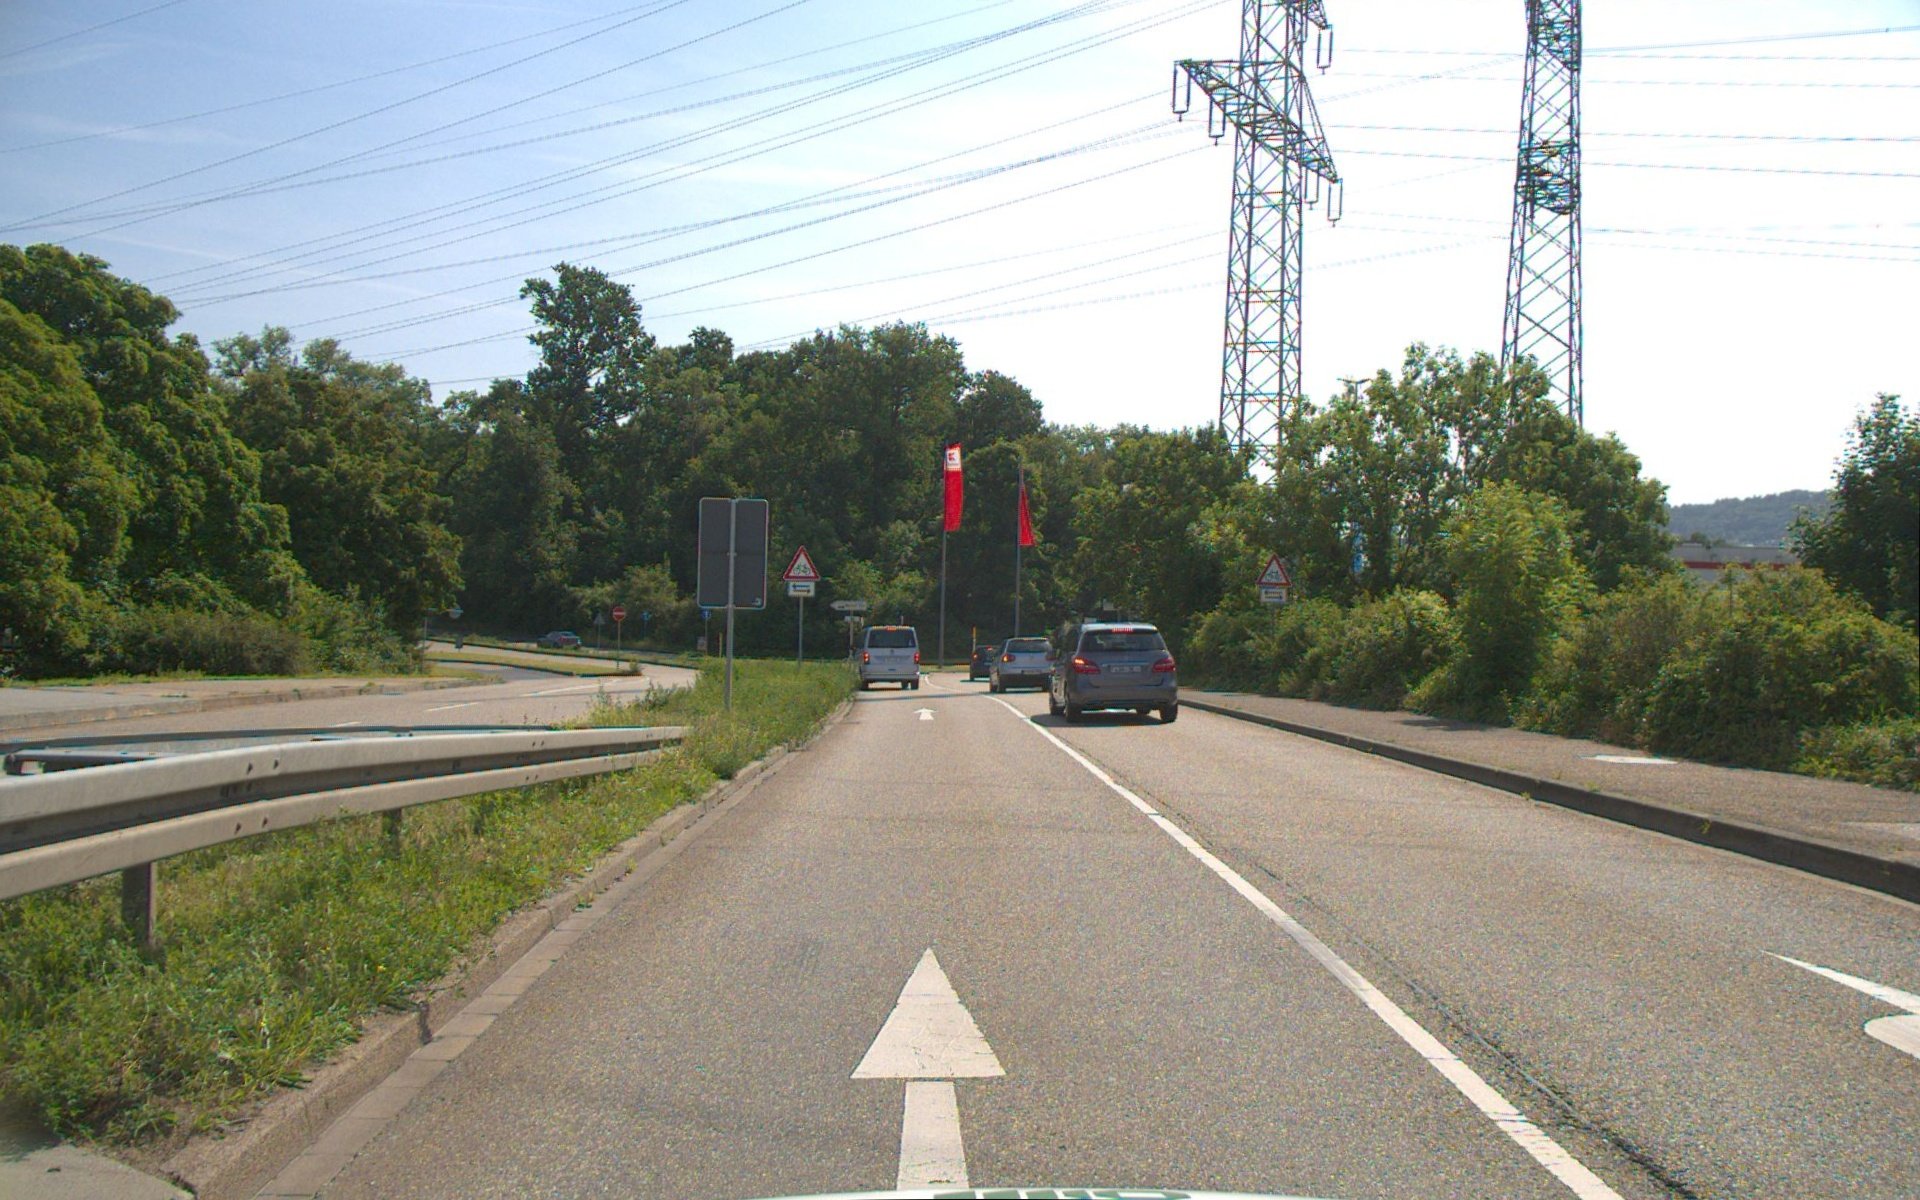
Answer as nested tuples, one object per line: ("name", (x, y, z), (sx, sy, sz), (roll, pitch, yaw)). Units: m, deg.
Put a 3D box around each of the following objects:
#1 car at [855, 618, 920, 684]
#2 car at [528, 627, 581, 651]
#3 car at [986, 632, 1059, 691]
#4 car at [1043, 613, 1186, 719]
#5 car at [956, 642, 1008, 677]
("car", (-2.298, 1.614, 52.935), (1.998, 2.049, 3.998), (0, -1, -2))
("car", (-29.407, 2.819, 119.955), (3.577, 1.593, 1.649), (2, 2, 30))
("car", (1.695, 1.716, 46.024), (1.818, 1.556, 4.143), (0, -2, 0))
("car", (2.448, 1.015, 27.132), (1.819, 1.556, 4.142), (-1, 0, -2))
("car", (0.945, 2.474, 69.850), (1.735, 1.355, 3.743), (0, 0, 8))
